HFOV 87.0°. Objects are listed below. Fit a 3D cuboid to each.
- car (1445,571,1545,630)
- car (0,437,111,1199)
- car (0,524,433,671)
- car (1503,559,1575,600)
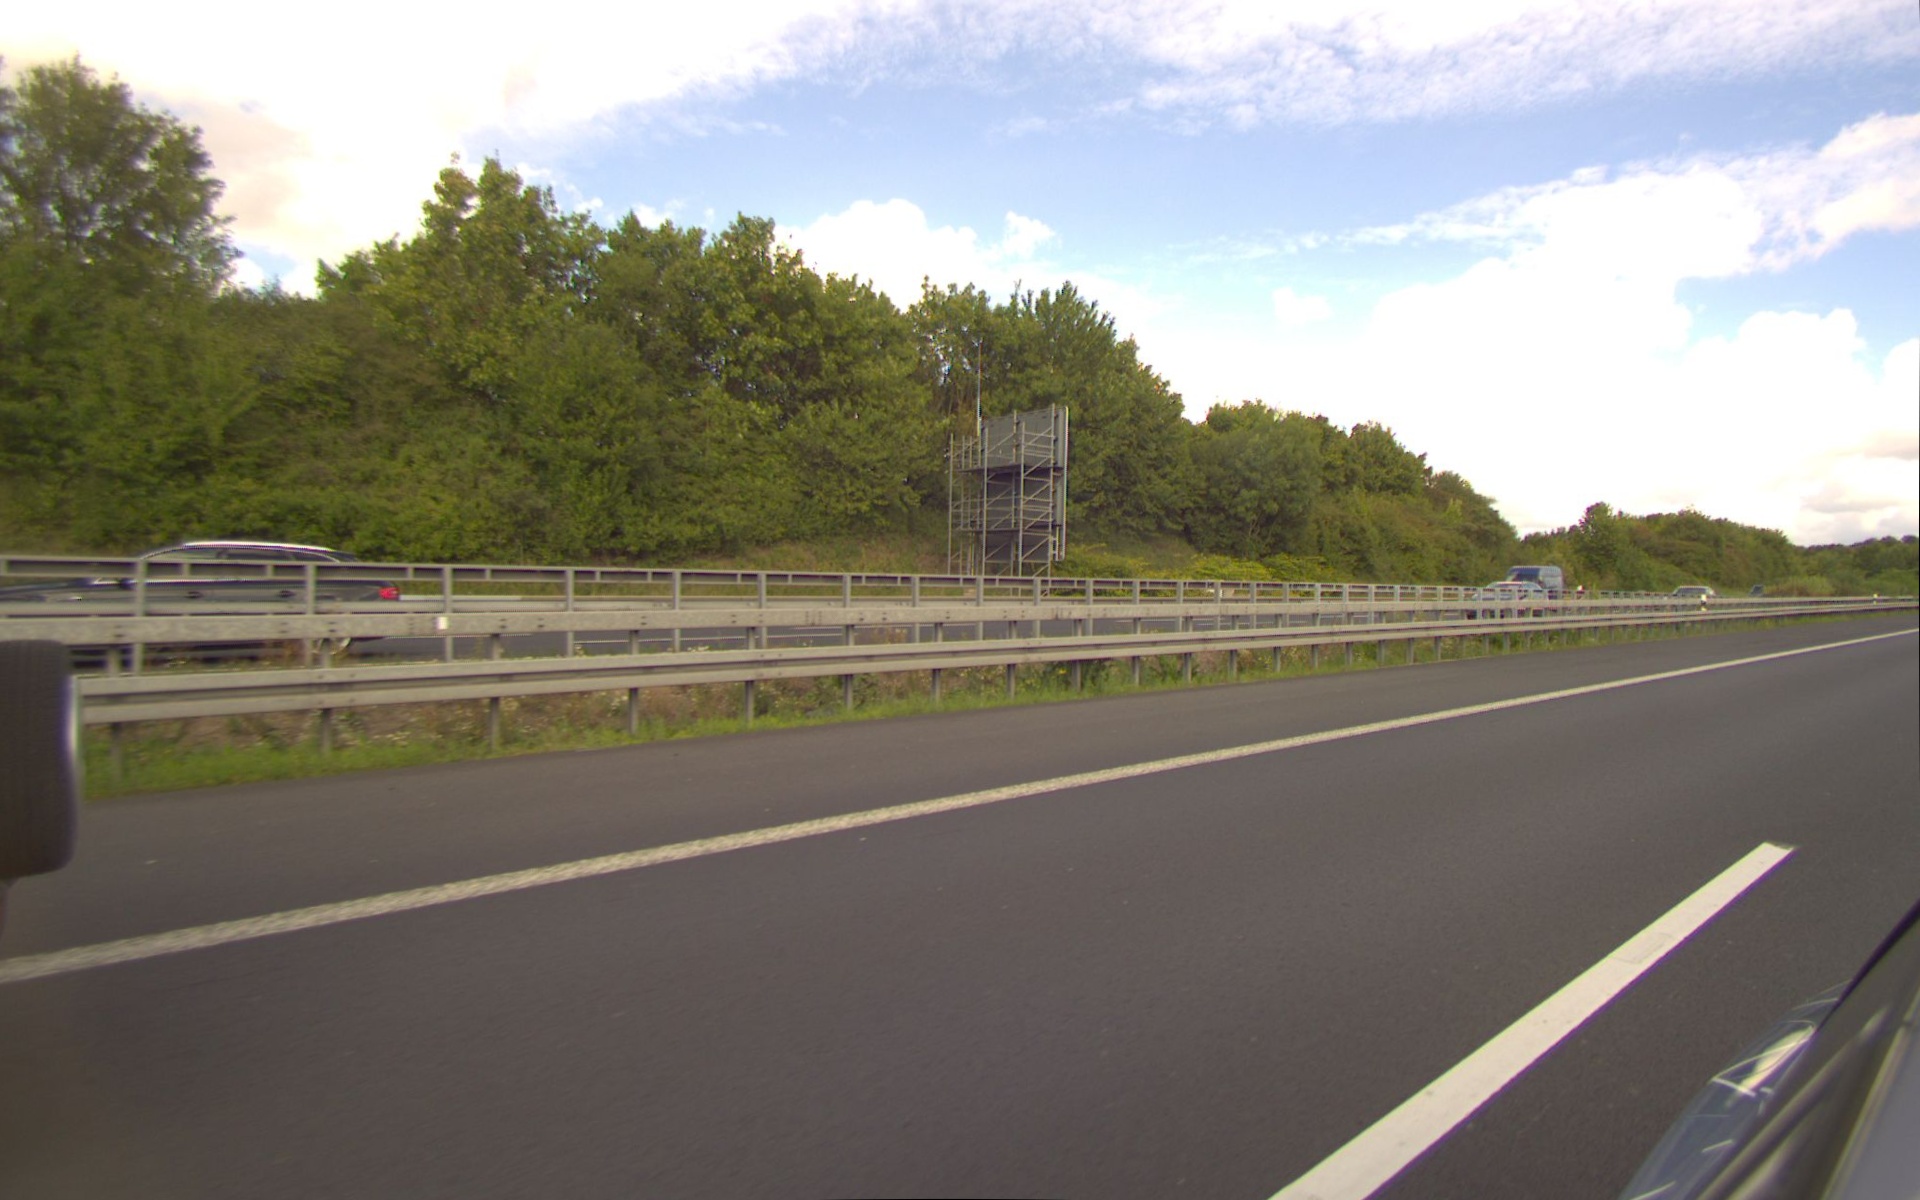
[{"bbox_3d":[20.336,-0.025,38.404,3.930,2.038,1.998,-1,3,-41],"label":"car"},{"bbox_3d":[-4.099,0.507,1.644,4.132,1.754,1.670,0,2,-40],"label":"car"},{"bbox_3d":[-9.017,-0.070,12.365,4.237,1.503,1.997,-1,2,-42],"label":"car"},{"bbox_3d":[32.383,-1.158,56.573,5.040,2.212,1.997,-1,2,-42],"label":"car"}]
